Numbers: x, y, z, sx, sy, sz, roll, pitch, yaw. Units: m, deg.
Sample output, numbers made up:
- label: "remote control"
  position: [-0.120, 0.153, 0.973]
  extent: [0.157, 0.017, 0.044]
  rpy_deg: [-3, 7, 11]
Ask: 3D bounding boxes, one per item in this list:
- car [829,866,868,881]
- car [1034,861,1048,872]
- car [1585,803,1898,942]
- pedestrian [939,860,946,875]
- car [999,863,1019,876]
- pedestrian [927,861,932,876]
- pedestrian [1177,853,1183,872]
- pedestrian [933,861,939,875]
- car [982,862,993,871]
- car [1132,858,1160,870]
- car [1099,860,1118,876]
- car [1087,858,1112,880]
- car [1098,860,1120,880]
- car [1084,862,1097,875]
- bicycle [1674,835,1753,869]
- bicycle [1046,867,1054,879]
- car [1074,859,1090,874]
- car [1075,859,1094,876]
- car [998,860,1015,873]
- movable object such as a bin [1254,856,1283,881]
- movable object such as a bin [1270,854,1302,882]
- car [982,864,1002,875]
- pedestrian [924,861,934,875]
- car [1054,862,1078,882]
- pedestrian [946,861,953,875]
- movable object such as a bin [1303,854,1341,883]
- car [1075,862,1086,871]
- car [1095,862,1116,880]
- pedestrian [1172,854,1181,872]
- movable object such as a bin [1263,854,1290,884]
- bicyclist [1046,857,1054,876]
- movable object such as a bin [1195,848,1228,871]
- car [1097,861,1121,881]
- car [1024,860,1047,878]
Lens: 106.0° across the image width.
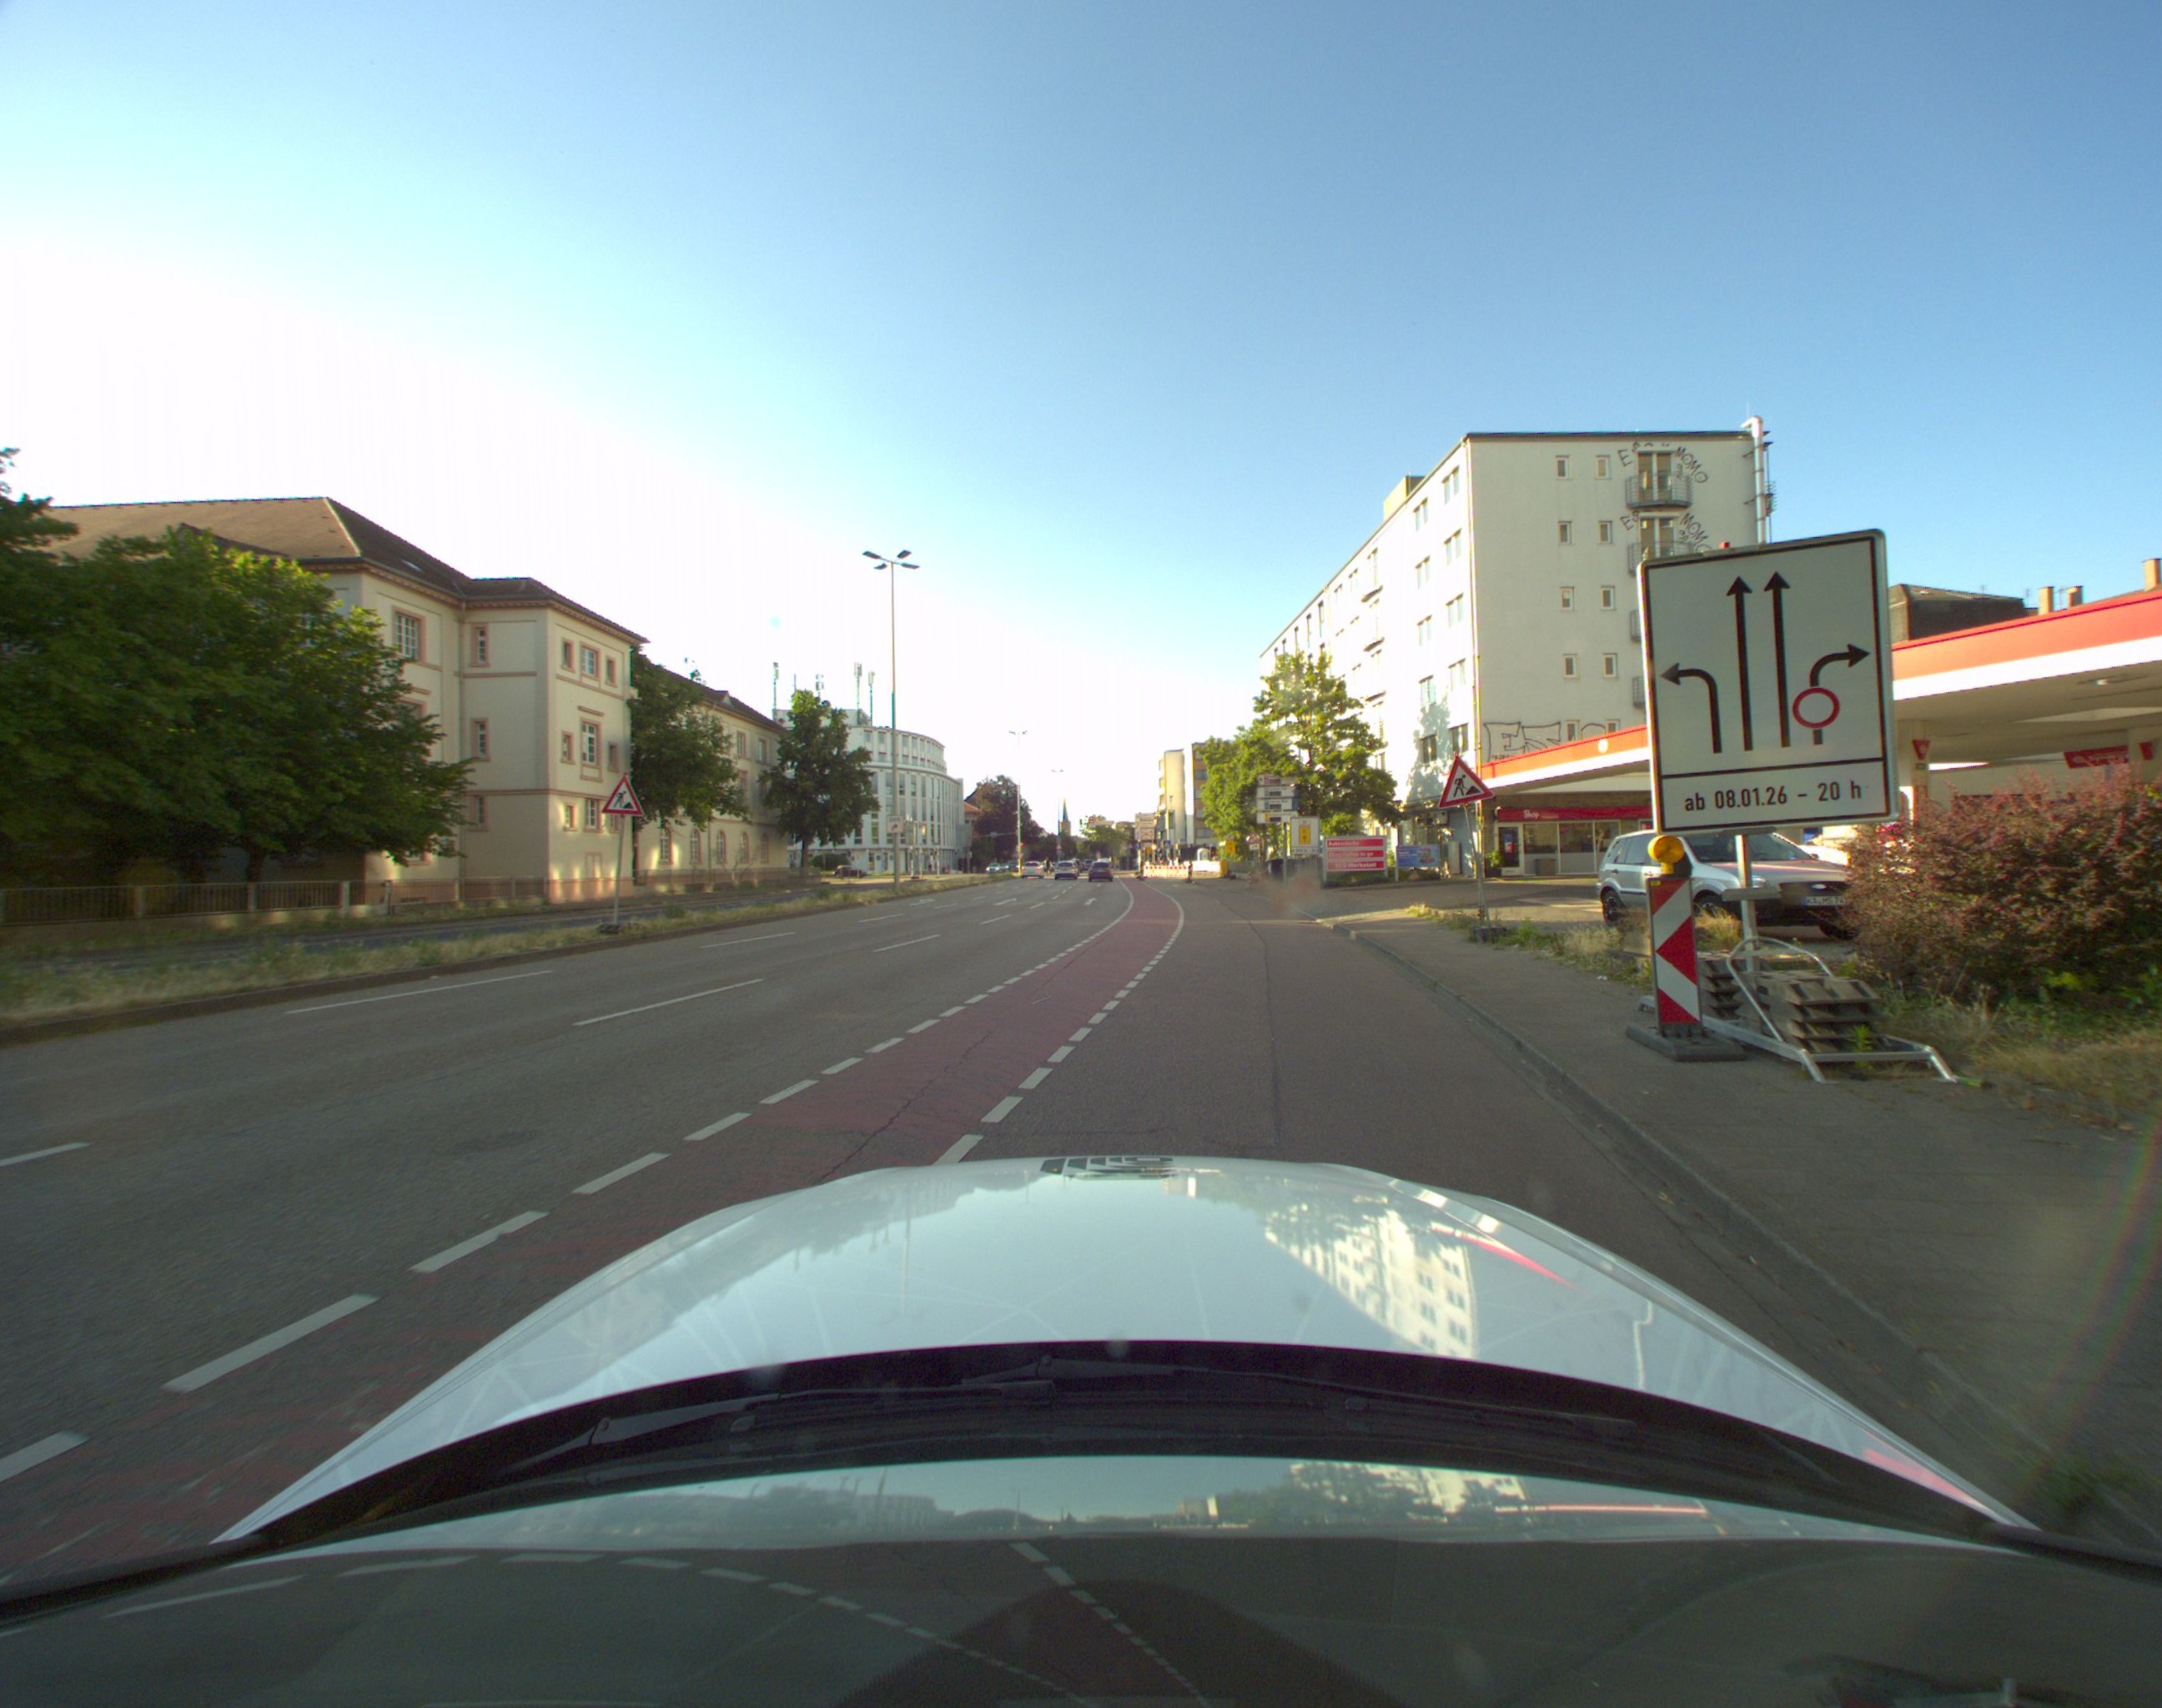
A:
- label: "car"
  position: [-26.292, 2.206, 92.271]
  extent: [3.799, 1.530, 1.861]
  rpy_deg: [-3, -3, -3]
- label: "car"
  position: [-5.976, 1.853, 121.989]
  extent: [1.842, 1.461, 4.047]
  rpy_deg: [-1, -1, -2]
- label: "car"
  position: [8.928, 0.246, 11.496]
  extent: [1.610, 1.594, 3.902]
  rpy_deg: [-2, -1, 8]
- label: "pedestrian"
  position: [-18.249, 1.774, 107.390]
  extent: [0.658, 1.868, 0.778]
  rpy_deg: [-1, -1, -1]
- label: "car"
  position: [-9.211, 2.027, 104.765]
  extent: [1.987, 1.578, 4.899]
  rpy_deg: [-1, -1, 0]
- label: "pedestrian"
  position: [-20.214, 1.928, 108.561]
  extent: [0.660, 1.859, 0.775]
  rpy_deg: [-1, -1, -11]
- label: "pedestrian"
  position: [9.818, 0.819, 80.703]
  extent: [0.517, 1.868, 0.616]
  rpy_deg: [-2, -1, 9]
- label: "pedestrian"
  position: [-19.345, 1.849, 108.711]
  extent: [0.758, 1.842, 0.816]
  rpy_deg: [-1, -1, -9]
- label: "car"
  position: [-16.907, 2.330, 147.565]
  extent: [1.838, 1.572, 3.992]
  rpy_deg: [-1, -1, -6]
- label: "car"
  position: [10.367, 1.579, 129.716]
  extent: [4.350, 1.878, 1.999]
  rpy_deg: [-1, -1, -1]
- label: "car"
  position: [2.862, 1.452, 85.129]
  extent: [1.813, 1.640, 3.999]
  rpy_deg: [-1, -1, 0]
- label: "car"
  position: [1.377, 1.068, 59.084]
  extent: [1.742, 1.564, 4.051]
  rpy_deg: [-1, -1, 2]
- label: "car"
  position: [2.454, 1.448, 70.887]
  extent: [1.720, 1.602, 3.726]
  rpy_deg: [-3, -3, 4]
- label: "car"
  position: [1.405, 2.044, 115.966]
  extent: [1.658, 1.657, 4.002]
  rpy_deg: [-1, -1, 2]
- label: "bicycle"
  position: [25.744, -0.073, 33.151]
  extent: [2.795, 1.314, 0.527]
  rpy_deg: [-2, -1, -2]
- label: "bicycle"
  position: [-2.917, 1.770, 76.700]
  extent: [0.698, 1.100, 2.256]
  rpy_deg: [-1, -1, -2]
- label: "car"
  position: [0.156, 1.369, 91.695]
  extent: [1.658, 1.657, 4.002]
  rpy_deg: [-1, -1, 2]
- label: "car"
  position: [0.366, 1.312, 78.740]
  extent: [1.742, 1.564, 4.051]
  rpy_deg: [-1, -1, 2]
- label: "car"
  position: [-11.352, 1.987, 124.525]
  extent: [1.833, 1.816, 4.003]
  rpy_deg: [-3, -3, 4]
- label: "movable object such as a bin"
  position: [10.696, 0.814, 46.450]
  extent: [1.215, 1.344, 1.050]
  rpy_deg: [-1, -1, -14]
- label: "movable object such as a bin"
  position: [11.234, 0.769, 44.693]
  extent: [1.326, 1.485, 1.207]
  rpy_deg: [-1, -1, -9]
- label: "car"
  position: [-12.260, 2.118, 112.219]
  extent: [1.986, 1.413, 4.445]
  rpy_deg: [-2, -1, 2]
- label: "pedestrian"
  position: [-22.320, 2.084, 119.420]
  extent: [1.084, 2.014, 1.039]
  rpy_deg: [-2, -1, 11]
- label: "car"
  position: [-1.178, 1.427, 66.303]
  extent: [1.742, 1.564, 4.051]
  rpy_deg: [-1, -1, 2]
- label: "pedestrian"
  position: [-17.317, 1.826, 107.292]
  extent: [0.624, 1.868, 1.127]
  rpy_deg: [-1, -1, 1]
- label: "movable object such as a bin"
  position: [11.906, 0.717, 40.331]
  extent: [1.603, 1.410, 0.865]
  rpy_deg: [-1, -1, -1]
- label: "car"
  position: [-0.066, 1.948, 131.033]
  extent: [1.582, 1.427, 3.824]
  rpy_deg: [-1, -1, 2]
- label: "car"
  position: [2.302, 1.513, 75.067]
  extent: [1.720, 1.579, 3.726]
  rpy_deg: [-2, -1, 4]
- label: "pedestrian"
  position: [9.387, 0.873, 79.996]
  extent: [0.738, 1.799, 0.716]
  rpy_deg: [-1, -1, 3]
- label: "movable object such as a bin"
  position: [10.311, 0.814, 42.980]
  extent: [1.089, 1.508, 1.254]
  rpy_deg: [-1, -3, 1]
- label: "bicyclist"
  position: [-2.927, 1.176, 76.505]
  extent: [0.689, 1.728, 0.987]
  rpy_deg: [-1, -1, -2]
- label: "movable object such as a bin"
  position: [14.031, 0.589, 87.657]
  extent: [3.317, 2.383, 1.529]
  rpy_deg: [-1, -1, 0]
- label: "car"
  position: [2.335, 1.388, 66.820]
  extent: [1.748, 1.490, 3.726]
  rpy_deg: [-3, -3, 4]
- label: "car"
  position: [-3.992, 1.303, 71.795]
  extent: [1.678, 1.457, 4.002]
  rpy_deg: [-1, 0, 2]
